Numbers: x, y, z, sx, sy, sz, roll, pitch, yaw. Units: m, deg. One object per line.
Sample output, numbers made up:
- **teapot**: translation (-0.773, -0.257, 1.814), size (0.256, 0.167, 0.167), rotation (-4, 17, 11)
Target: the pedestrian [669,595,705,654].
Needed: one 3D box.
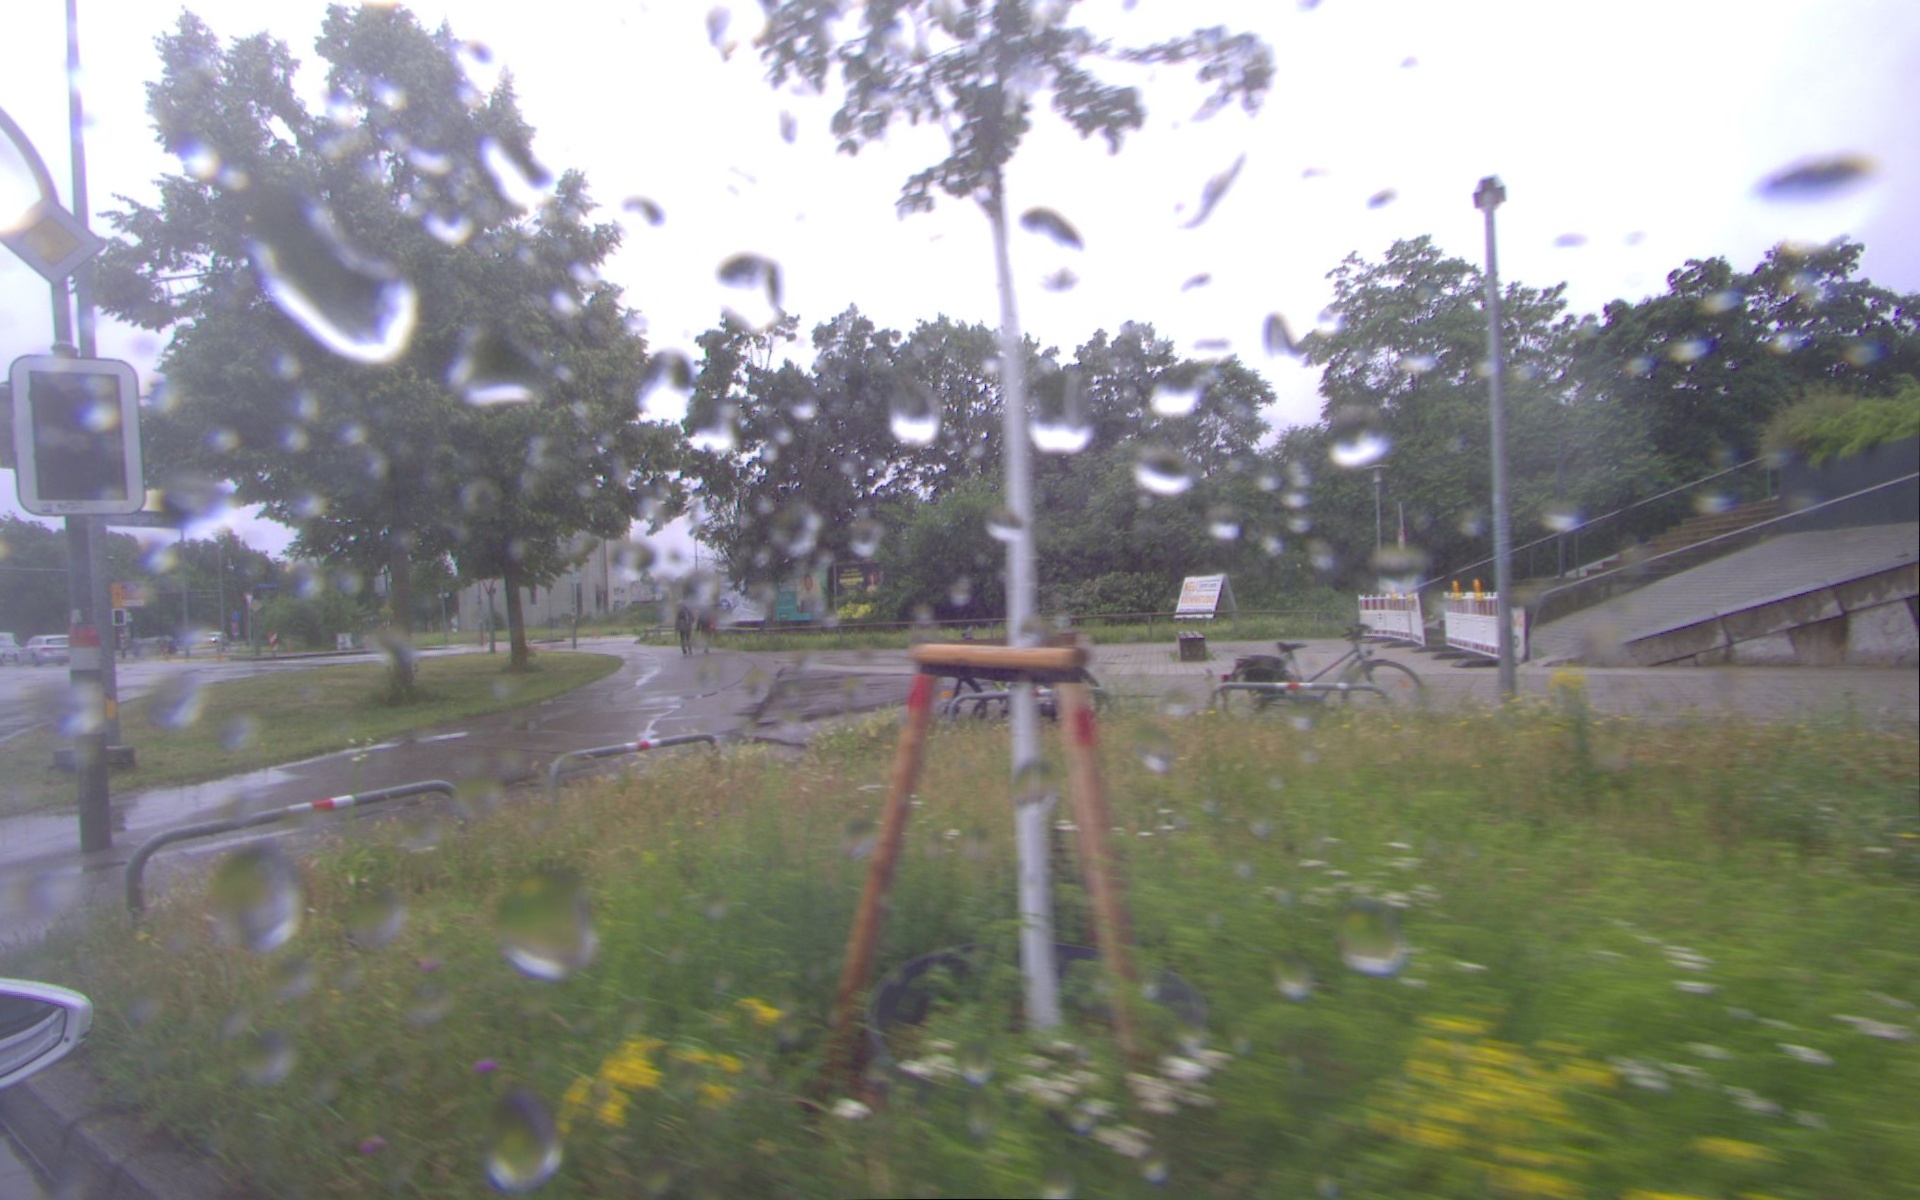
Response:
- **pedestrian**: translation (-8.568, 0.768, 31.465), size (0.906, 1.807, 0.808), rotation (-1, -2, -3)

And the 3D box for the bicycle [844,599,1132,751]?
- **bicycle**: translation (0.263, 0.622, 8.847), size (2.480, 1.205, 0.552), rotation (-1, 0, -17)

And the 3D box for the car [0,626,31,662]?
- **car**: translation (-57.647, 2.645, 59.904), size (1.760, 2.061, 3.990), rotation (0, -2, -22)

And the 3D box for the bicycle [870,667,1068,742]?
- **bicycle**: translation (0.095, 0.935, 9.071), size (1.771, 0.566, 0.320), rotation (-1, 0, -17)

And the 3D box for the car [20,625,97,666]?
- **car**: translation (-43.655, 2.181, 48.447), size (4.775, 1.834, 1.777), rotation (-2, 0, 36)

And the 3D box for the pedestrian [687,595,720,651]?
- **pedestrian**: translation (-8.369, 0.762, 32.691), size (0.906, 1.807, 0.808), rotation (-1, -2, -3)

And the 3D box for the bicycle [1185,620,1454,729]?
- **bicycle**: translation (3.111, 0.620, 8.750), size (2.131, 0.858, 0.633), rotation (-1, 0, 30)

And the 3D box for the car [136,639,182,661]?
- **car**: translation (-59.590, 3.687, 74.528), size (1.665, 1.511, 3.243), rotation (-1, 0, -20)
